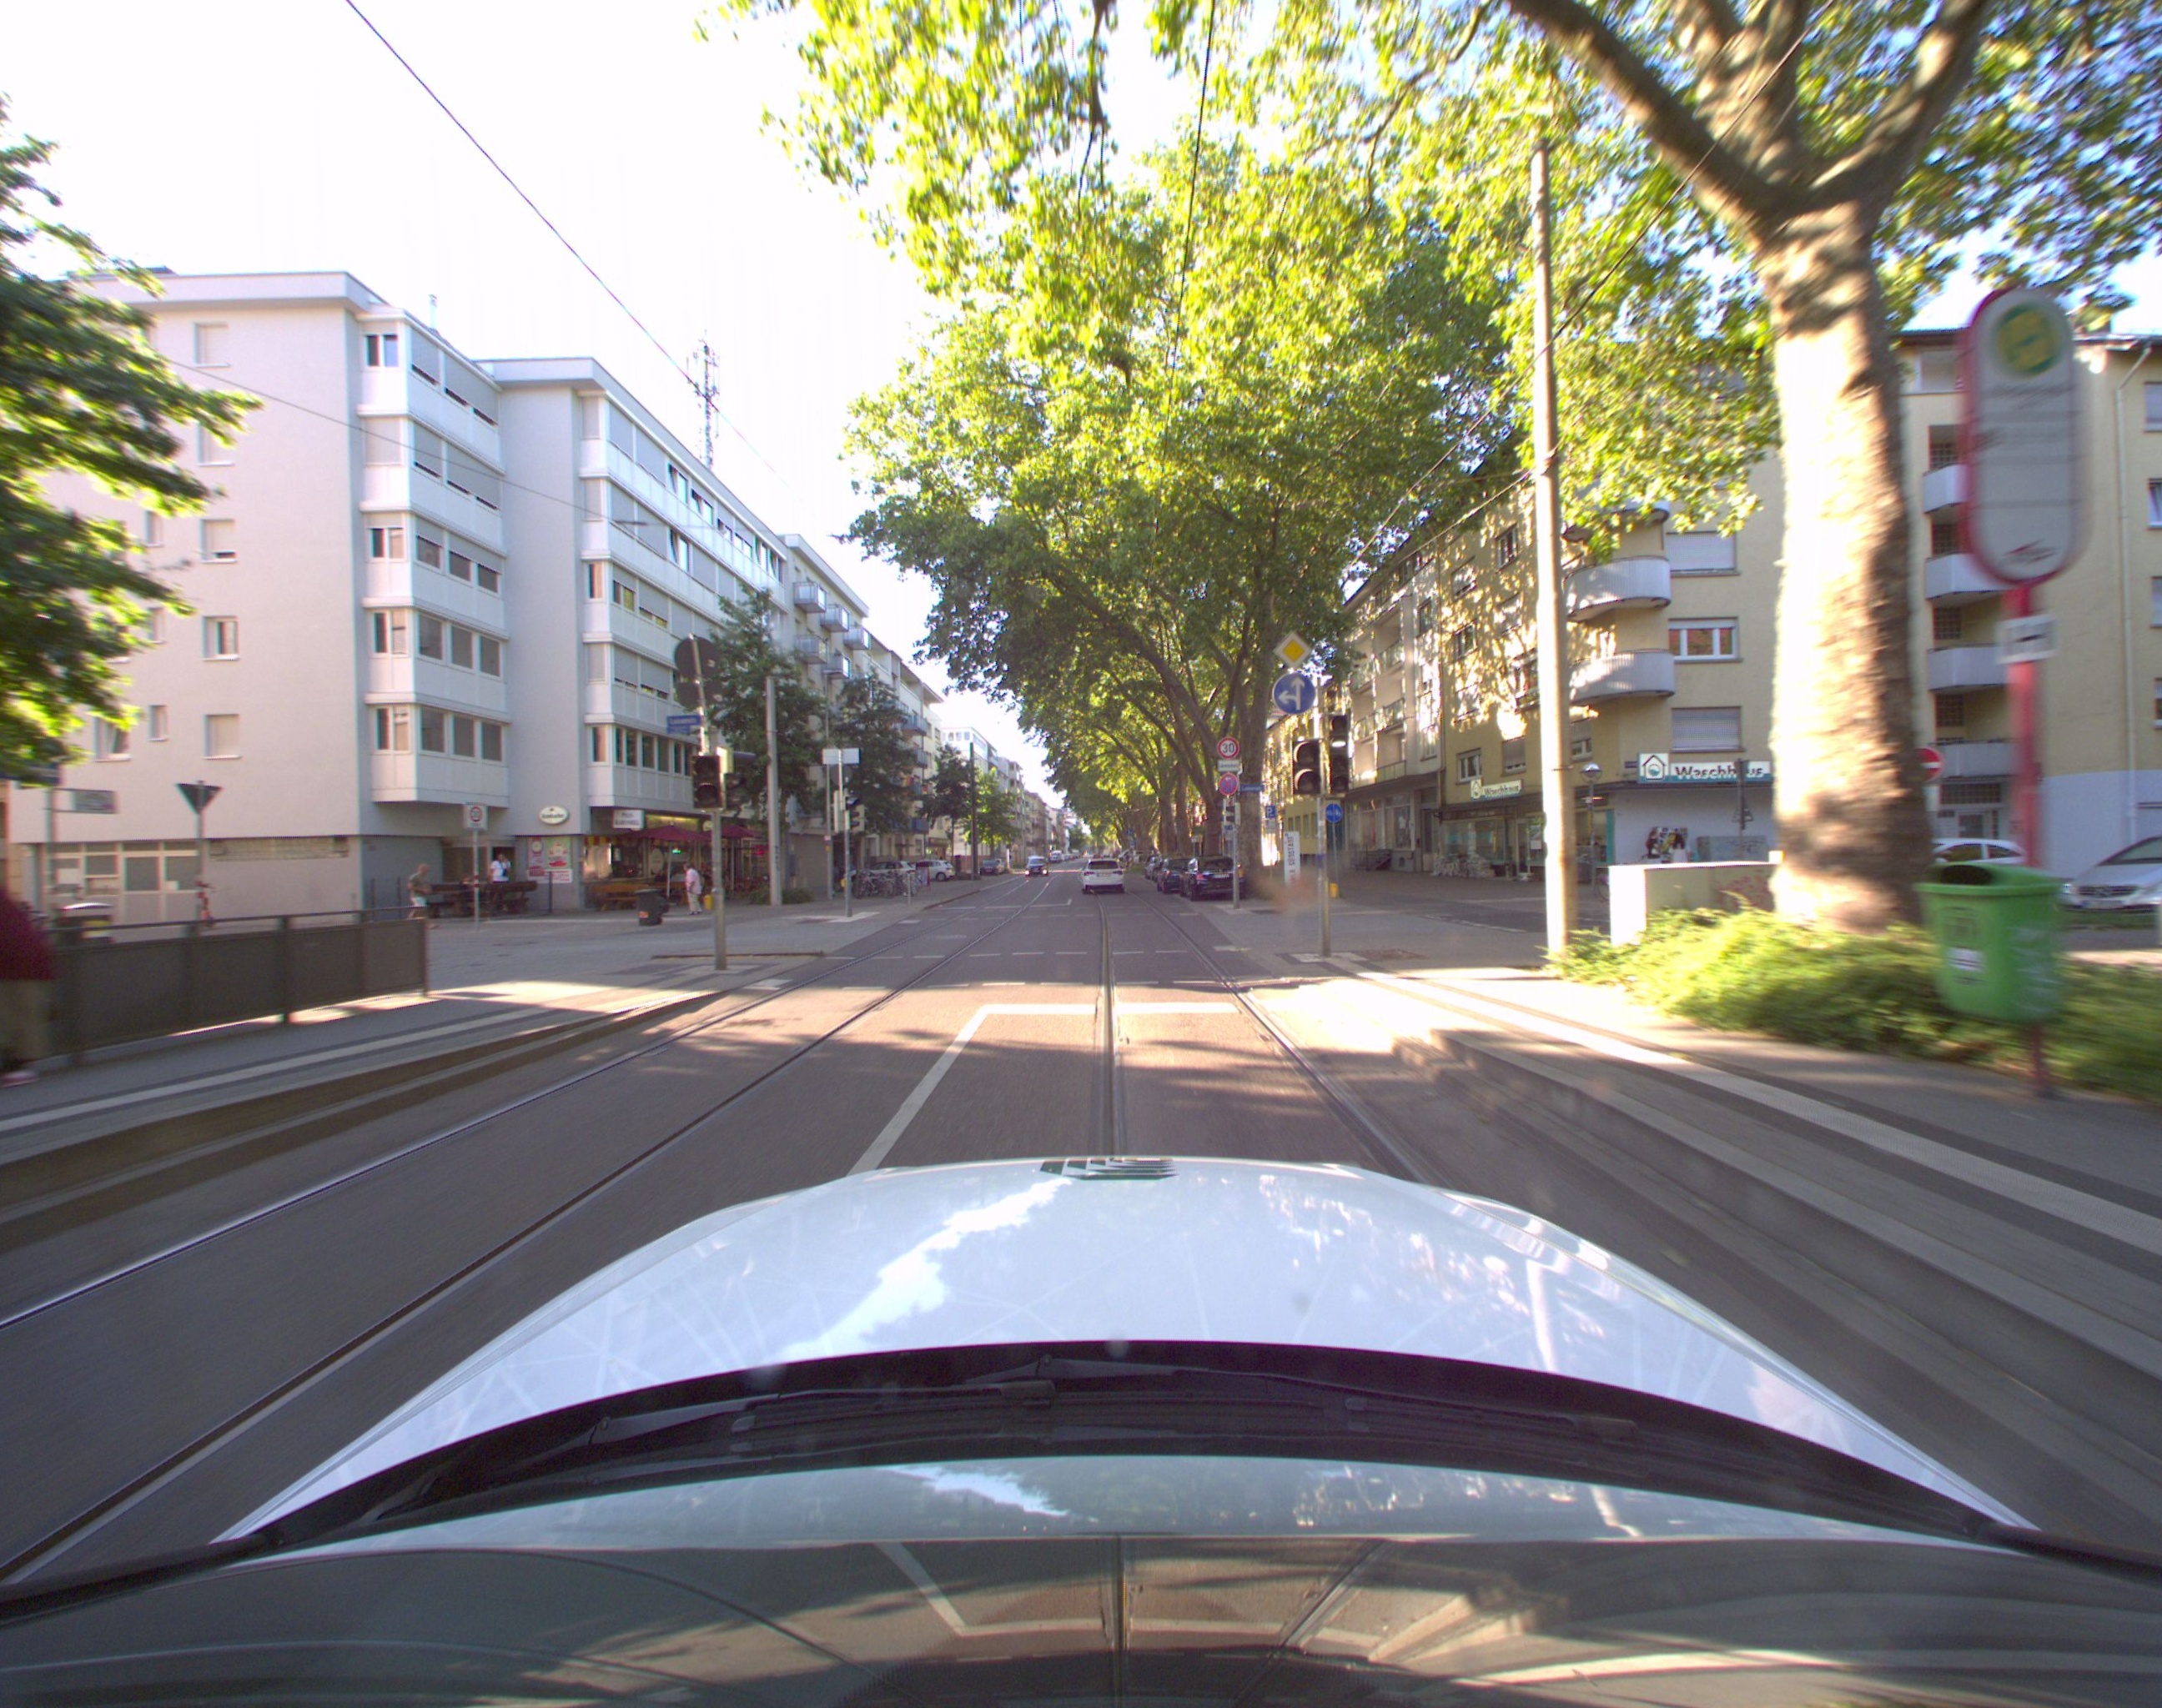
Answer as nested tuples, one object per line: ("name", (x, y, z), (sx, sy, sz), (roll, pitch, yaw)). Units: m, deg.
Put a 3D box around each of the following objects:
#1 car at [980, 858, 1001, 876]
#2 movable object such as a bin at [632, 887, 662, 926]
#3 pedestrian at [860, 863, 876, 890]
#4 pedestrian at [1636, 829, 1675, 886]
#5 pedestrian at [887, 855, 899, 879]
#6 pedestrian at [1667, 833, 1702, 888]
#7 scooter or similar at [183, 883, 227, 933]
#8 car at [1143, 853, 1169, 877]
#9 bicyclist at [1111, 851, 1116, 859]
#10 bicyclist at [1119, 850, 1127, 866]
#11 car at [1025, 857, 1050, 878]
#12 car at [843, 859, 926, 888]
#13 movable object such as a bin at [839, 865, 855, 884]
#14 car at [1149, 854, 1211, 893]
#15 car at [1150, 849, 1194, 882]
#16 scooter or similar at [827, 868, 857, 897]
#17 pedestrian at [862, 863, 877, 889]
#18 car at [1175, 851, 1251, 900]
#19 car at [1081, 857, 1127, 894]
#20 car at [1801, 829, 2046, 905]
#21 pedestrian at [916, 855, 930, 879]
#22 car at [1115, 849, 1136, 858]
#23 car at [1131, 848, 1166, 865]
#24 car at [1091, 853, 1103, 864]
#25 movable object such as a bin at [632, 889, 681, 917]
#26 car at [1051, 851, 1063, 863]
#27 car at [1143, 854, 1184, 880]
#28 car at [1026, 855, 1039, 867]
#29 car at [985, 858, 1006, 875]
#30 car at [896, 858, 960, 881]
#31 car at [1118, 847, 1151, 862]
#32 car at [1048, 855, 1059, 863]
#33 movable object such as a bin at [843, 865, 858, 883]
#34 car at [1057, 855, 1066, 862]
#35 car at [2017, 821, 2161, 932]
("car", (-7.991, 1.127, 72.274), (1.711, 1.464, 3.992), (2, 0, -5))
("movable object such as a bin", (-11.125, 1.335, 20.892), (0.539, 0.932, 0.647), (-2, 0, -16))
("pedestrian", (-10.698, 1.125, 40.883), (0.713, 1.297, 0.744), (-2, 0, -13))
("pedestrian", (17.165, 0.105, 24.336), (0.704, 1.682, 0.656), (-2, 0, -26))
("pedestrian", (-13.454, 0.899, 58.262), (0.661, 1.691, 0.748), (-1, 0, 0))
("pedestrian", (17.225, 0.182, 23.230), (0.694, 1.539, 0.695), (-2, 0, 42))
("scooter or similar", (-23.253, 1.413, 21.625), (0.500, 1.259, 1.293), (-1, 0, -34))
("car", (5.023, 0.746, 54.751), (1.557, 1.519, 2.913), (-3, -1, 4))
("bicyclist", (5.510, 0.200, 137.472), (0.647, 1.344, 0.934), (-2, 0, -1))
("bicyclist", (4.001, 0.396, 76.906), (0.676, 1.443, 1.047), (-2, 0, 2))
("car", (-3.513, 1.049, 65.731), (1.866, 1.590, 4.144), (1, 0, -2))
("car", (-10.610, 1.040, 44.181), (3.997, 1.475, 1.852), (-1, -1, 2))
("movable object such as a bin", (-13.998, 1.217, 48.707), (0.675, 1.055, 0.622), (-2, 0, 3))
("car", (3.989, 0.753, 33.488), (1.860, 1.437, 4.223), (-3, 0, -2))
("car", (4.935, 0.649, 44.757), (1.852, 1.603, 4.781), (-3, -1, 0))
("scooter or similar", (-9.894, 1.173, 33.700), (1.076, 1.176, 0.498), (0, -1, 0))
("pedestrian", (-10.933, 1.139, 42.127), (0.713, 1.297, 0.908), (-2, 0, -13))
("car", (4.386, 0.678, 27.834), (1.759, 1.462, 5.011), (-2, 0, 0))
("car", (0.930, 0.847, 34.276), (1.756, 1.384, 4.000), (-2, 0, 0))
("car", (19.720, 0.263, 19.199), (3.848, 1.552, 1.867), (-2, 2, 1))
("pedestrian", (-11.322, 0.942, 58.352), (0.761, 1.691, 0.794), (-1, 0, 0))
("car", (12.818, -0.068, 235.130), (6.111, 2.282, 2.528), (-2, 0, -1))
("car", (9.035, 0.304, 109.298), (4.530, 2.076, 2.000), (-2, 0, -1))
("car", (2.487, 0.670, 125.216), (1.755, 1.475, 4.002), (-2, 0, 2))
("movable object such as a bin", (-12.362, 1.428, 23.741), (1.197, 0.757, 0.661), (0, -1, -21))
("car", (-5.229, 0.585, 178.150), (2.170, 2.597, 4.950), (-2, 0, 2))
("car", (5.033, 0.777, 50.211), (1.812, 1.436, 4.599), (-3, -1, -2))
("car", (-7.242, 1.029, 121.615), (1.697, 1.650, 4.241), (1, 0, 0))
("car", (-8.071, 1.162, 77.063), (1.709, 1.464, 4.373), (2, 0, -2))
("car", (-10.460, 1.047, 55.854), (4.001, 1.475, 1.850), (-1, -1, -2))
("car", (10.168, 0.103, 156.293), (6.111, 2.635, 2.528), (-2, 0, -1))
("car", (-5.606, 1.068, 166.424), (1.986, 1.530, 4.001), (-2, 0, 2))
("movable object such as a bin", (-13.976, 1.210, 49.346), (0.669, 1.055, 0.575), (-2, 0, 3))
("car", (-4.711, 1.138, 198.476), (1.986, 1.530, 4.001), (-2, 0, 2))
("car", (18.344, 0.280, 13.330), (3.848, 1.693, 1.866), (-2, 0, 1))
